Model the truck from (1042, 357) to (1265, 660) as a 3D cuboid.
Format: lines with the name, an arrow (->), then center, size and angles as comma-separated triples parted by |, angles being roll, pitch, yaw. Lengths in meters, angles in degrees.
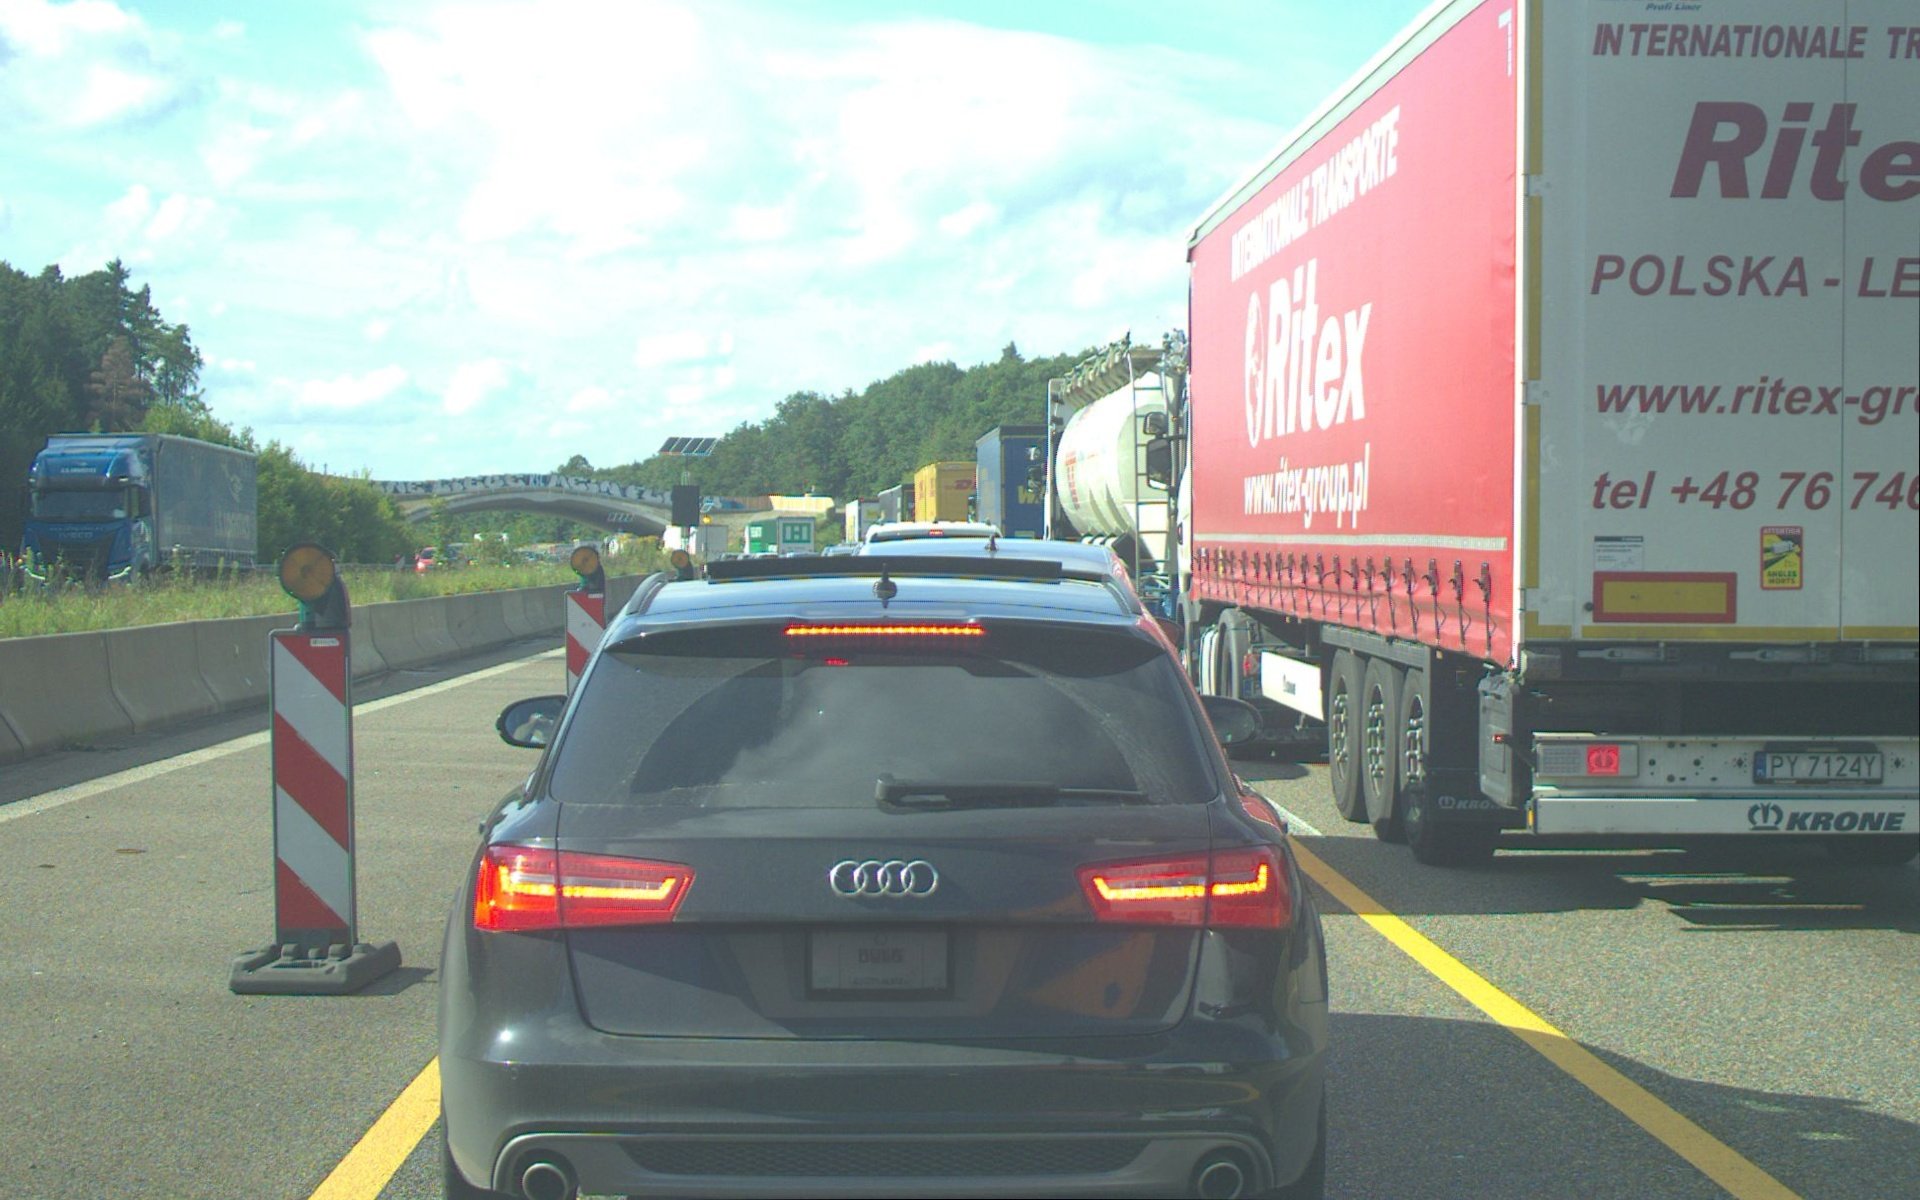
truck -> 2.626, -1.233, 48.285 | 2.659, 3.958, 5.779 | 1, 0, -1

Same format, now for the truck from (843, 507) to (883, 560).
truck -> -6.603, -4.490, 232.955 | 2.566, 3.455, 7.399 | 1, 0, -2

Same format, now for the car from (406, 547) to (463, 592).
car -> -20.593, -1.202, 134.911 | 1.715, 1.700, 3.523 | 1, 0, -1

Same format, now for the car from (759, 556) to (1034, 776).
car -> -0.432, 0.412, 23.994 | 1.751, 1.392, 3.608 | 1, 0, -1

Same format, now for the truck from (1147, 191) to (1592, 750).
truck -> 3.071, -0.965, 27.326 | 2.667, 3.946, 5.711 | 1, 1, -1

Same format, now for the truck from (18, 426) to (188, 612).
truck -> -20.012, -1.888, 80.521 | 2.637, 4.175, 5.468 | 1, 1, -1

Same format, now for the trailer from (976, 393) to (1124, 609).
trailer -> 1.874, -2.084, 76.008 | 2.805, 4.398, 10.433 | 1, 0, -1

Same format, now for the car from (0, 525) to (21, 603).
car -> -25.469, -0.930, 87.583 | 1.993, 2.007, 4.000 | 1, 0, -1

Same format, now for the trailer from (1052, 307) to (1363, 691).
trailer -> 2.727, -1.134, 41.864 | 2.644, 3.929, 12.598 | 1, 1, -1

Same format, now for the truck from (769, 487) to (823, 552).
truck -> -11.203, -5.435, 233.708 | 3.303, 4.160, 9.703 | 1, 0, -4

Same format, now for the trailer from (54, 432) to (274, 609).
trailer -> -20.077, -1.976, 87.635 | 2.619, 4.127, 13.373 | 1, 1, -1

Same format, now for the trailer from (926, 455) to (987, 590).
trailer -> -0.129, -2.281, 103.287 | 1.616, 3.905, 6.490 | 1, 0, -1

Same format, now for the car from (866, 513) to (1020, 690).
car -> -0.197, 0.003, 37.436 | 1.581, 1.830, 3.112 | 1, 0, -1

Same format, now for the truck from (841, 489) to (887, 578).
truck -> -4.676, -3.220, 168.327 | 2.137, 4.243, 7.072 | 1, 0, -1

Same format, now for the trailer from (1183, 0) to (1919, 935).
trailer -> 3.255, -0.800, 19.948 | 2.699, 3.955, 13.418 | 1, 1, -1

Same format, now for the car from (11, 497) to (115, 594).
car -> -25.384, -1.531, 97.439 | 2.250, 2.634, 5.021 | 1, 0, -8

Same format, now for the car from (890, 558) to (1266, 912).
car -> 0.468, 0.542, 15.804 | 1.524, 1.434, 3.285 | 1, 0, -1

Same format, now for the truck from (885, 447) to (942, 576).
truck -> -1.901, -3.477, 136.664 | 1.993, 4.897, 9.563 | 1, 1, -2

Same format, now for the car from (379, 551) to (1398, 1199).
car -> -0.153, 0.630, 8.267 | 1.848, 1.458, 4.000 | 0, 0, -1
